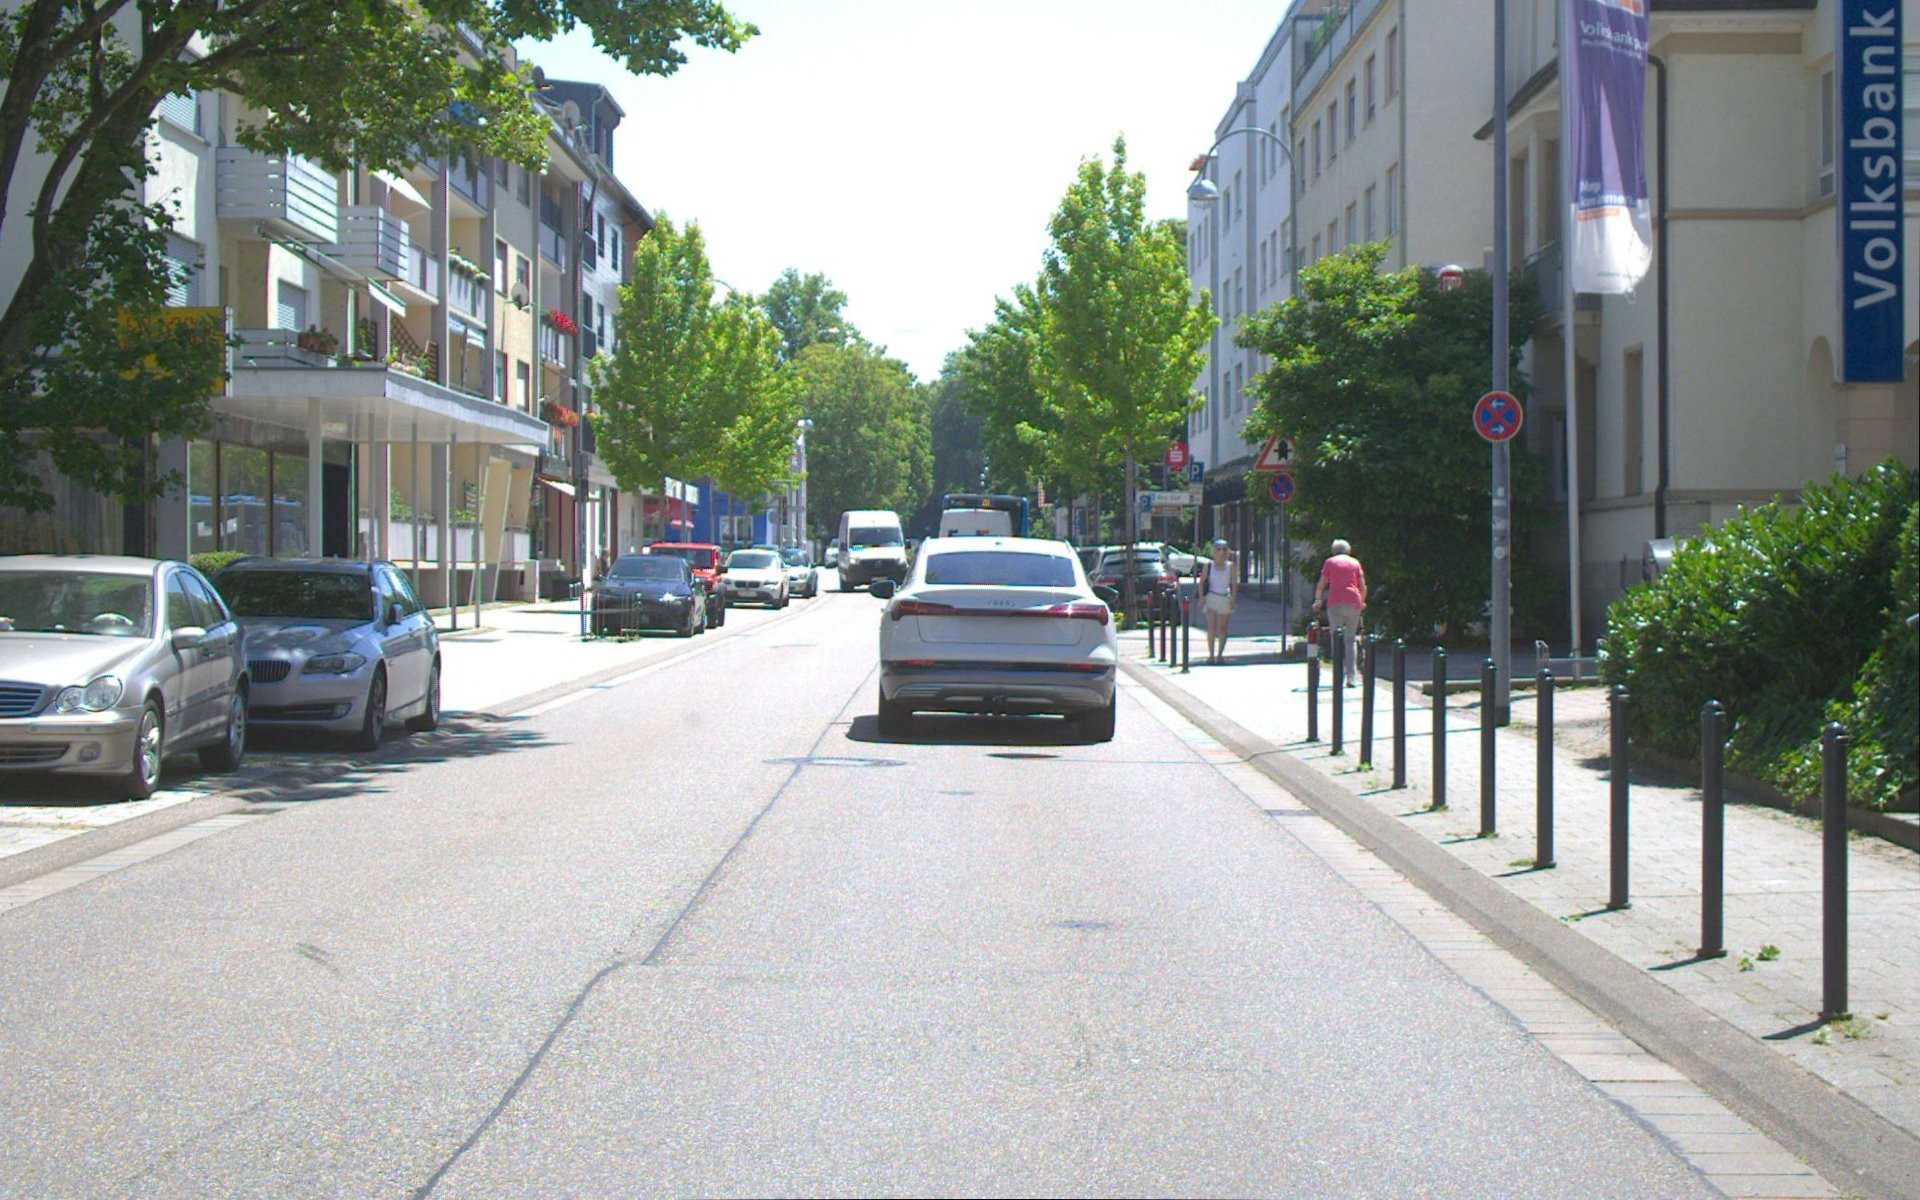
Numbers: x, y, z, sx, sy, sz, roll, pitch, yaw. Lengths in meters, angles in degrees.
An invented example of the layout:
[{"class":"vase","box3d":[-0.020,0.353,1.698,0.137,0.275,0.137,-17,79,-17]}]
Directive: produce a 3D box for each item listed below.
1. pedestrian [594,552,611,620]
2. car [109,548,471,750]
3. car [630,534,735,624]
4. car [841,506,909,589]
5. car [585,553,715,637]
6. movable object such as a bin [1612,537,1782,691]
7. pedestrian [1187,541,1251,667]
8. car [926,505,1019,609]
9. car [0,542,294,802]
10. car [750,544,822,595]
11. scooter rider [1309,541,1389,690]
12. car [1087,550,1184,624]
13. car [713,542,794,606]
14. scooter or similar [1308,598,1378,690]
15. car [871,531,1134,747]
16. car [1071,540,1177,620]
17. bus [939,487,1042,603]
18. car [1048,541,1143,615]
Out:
[{"class":"pedestrian","box3d":[-9.143,-0.363,87.926,0.394,1.729,0.446,0,1,-11]},{"class":"car","box3d":[-5.315,0.325,27.967,1.981,1.447,5.151,1,1,-1]},{"class":"car","box3d":[-5.583,-0.435,69.517,1.752,1.696,4.101,2,1,0]},{"class":"car","box3d":[-2.786,-1.746,114.338,2.036,2.621,7.108,-2,1,0]},{"class":"car","box3d":[-5.636,-0.122,63.045,1.896,1.412,5.048,2,1,0]},{"class":"movable object such as a bin","box3d":[7.350,0.130,34.377,1.368,1.454,1.380,-3,0,2]},{"class":"pedestrian","box3d":[3.425,0.046,45.469,0.700,1.621,0.784,-3,0,-1]},{"class":"car","box3d":[0.331,-1.064,85.742,2.156,2.433,5.283,2,1,0]},{"class":"car","box3d":[-5.717,0.368,22.075,1.981,1.447,4.868,1,1,-1]},{"class":"car","box3d":[-5.222,-0.925,103.691,1.752,1.448,4.400,2,1,2]},{"class":"scooter rider","box3d":[4.091,0.154,36.232,0.716,1.543,0.770,-1,1,-2]},{"class":"car","box3d":[3.548,-0.292,70.138,1.896,1.433,4.544,0,1,2]},{"class":"car","box3d":[-5.552,-0.718,92.828,1.752,1.612,4.401,2,1,1]},{"class":"scooter or similar","box3d":[4.106,0.469,36.882,0.663,0.960,0.754,0,1,0]},{"class":"car","box3d":[0.295,0.274,28.739,1.993,1.627,4.000,2,1,-1]},{"class":"car","box3d":[3.603,-0.471,76.278,1.896,1.669,4.691,-1,1,-2]},{"class":"bus","box3d":[0.968,-1.598,101.897,2.661,3.210,7.300,2,1,3]},{"class":"car","box3d":[3.180,-0.538,81.627,1.855,1.669,4.537,-1,1,-2]}]
